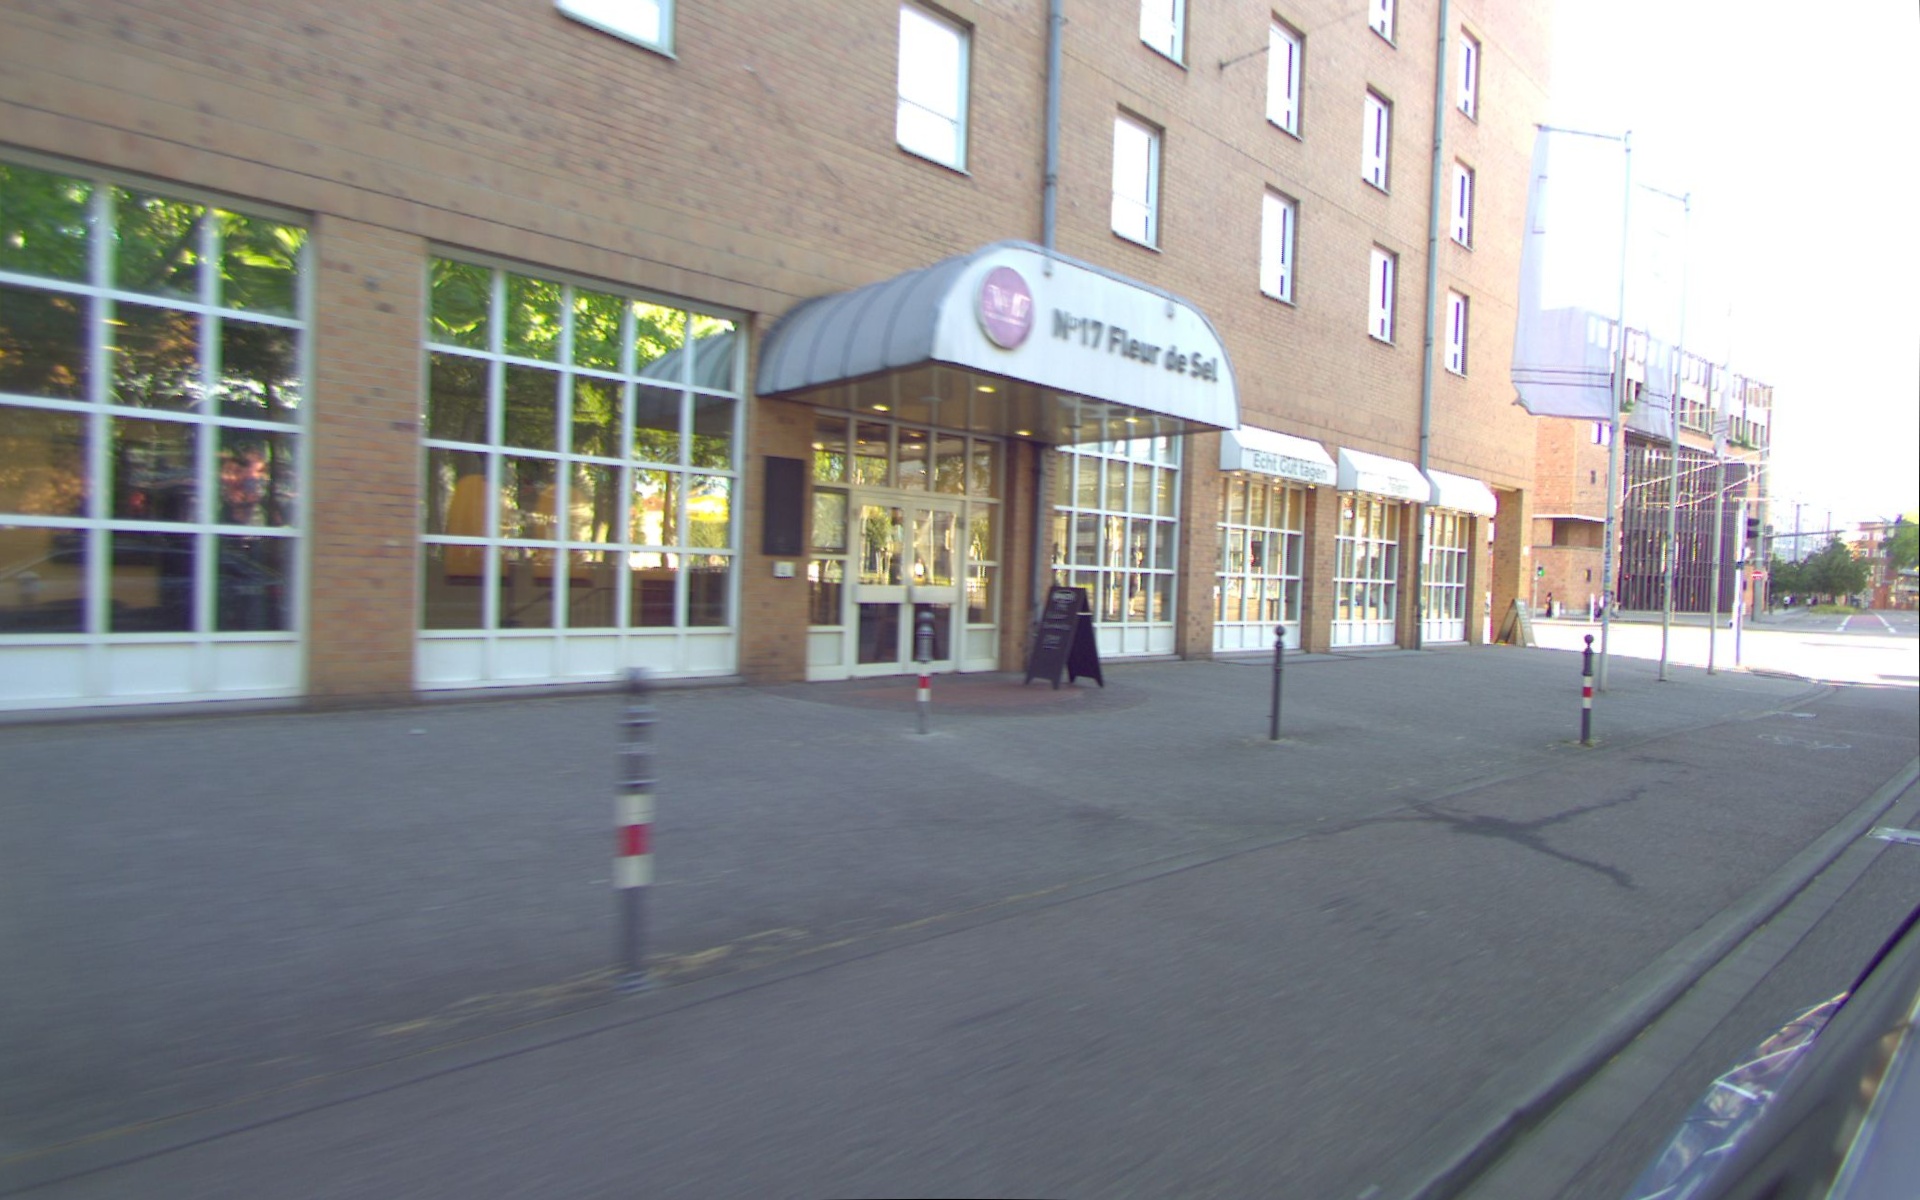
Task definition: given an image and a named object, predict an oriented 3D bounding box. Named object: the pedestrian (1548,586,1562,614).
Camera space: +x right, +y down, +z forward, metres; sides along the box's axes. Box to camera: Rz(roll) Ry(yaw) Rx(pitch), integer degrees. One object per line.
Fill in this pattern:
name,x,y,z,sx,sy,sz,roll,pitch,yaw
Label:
pedestrian,36.612,0.010,62.268,0.623,1.704,0.522,2,1,40
